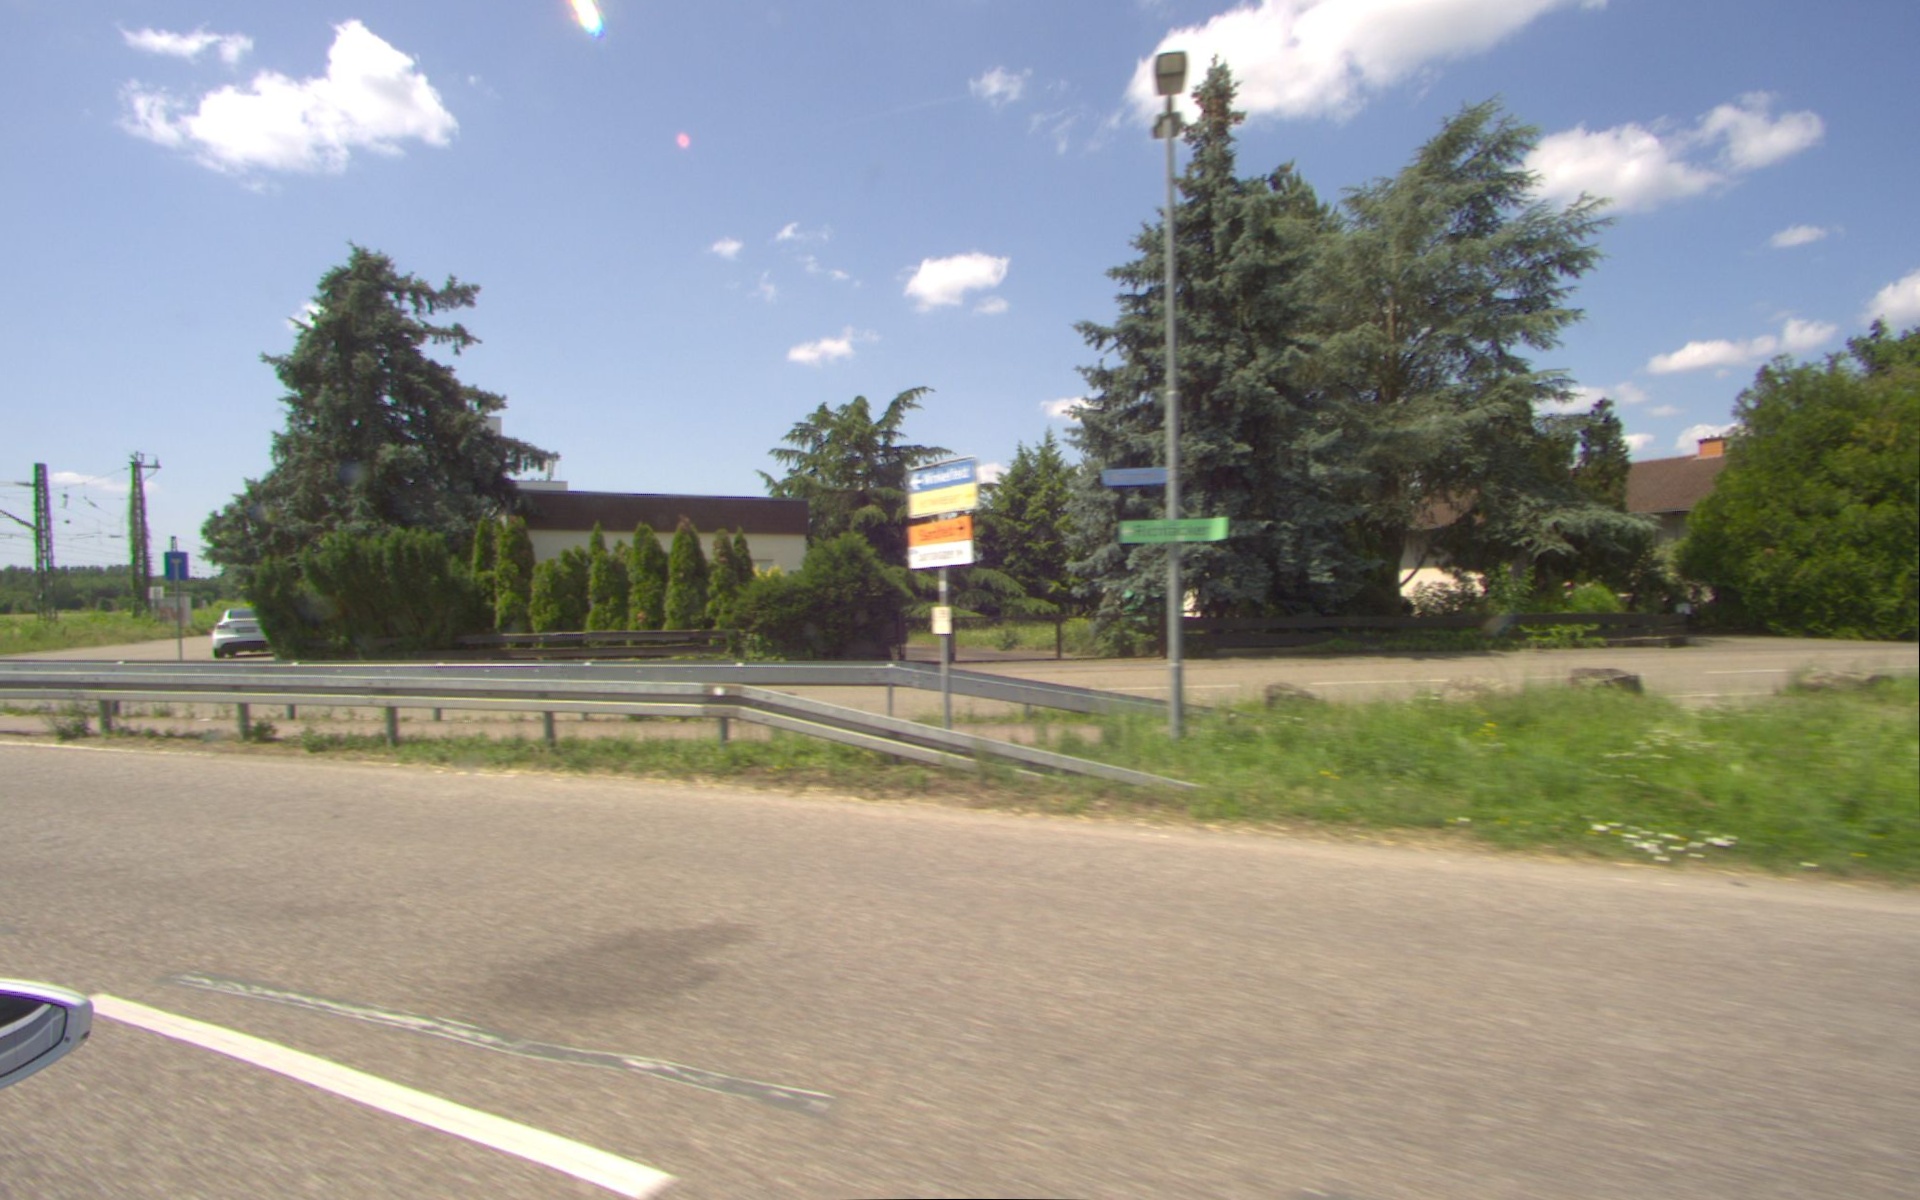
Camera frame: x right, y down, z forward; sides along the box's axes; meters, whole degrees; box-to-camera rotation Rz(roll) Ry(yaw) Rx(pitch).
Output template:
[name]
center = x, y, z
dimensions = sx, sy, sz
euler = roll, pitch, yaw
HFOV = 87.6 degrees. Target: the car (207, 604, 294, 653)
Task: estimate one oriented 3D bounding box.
[car]
center = -24.194, 0.913, 34.282
dimensions = 1.971, 1.530, 4.430
euler = -1, 1, -30
